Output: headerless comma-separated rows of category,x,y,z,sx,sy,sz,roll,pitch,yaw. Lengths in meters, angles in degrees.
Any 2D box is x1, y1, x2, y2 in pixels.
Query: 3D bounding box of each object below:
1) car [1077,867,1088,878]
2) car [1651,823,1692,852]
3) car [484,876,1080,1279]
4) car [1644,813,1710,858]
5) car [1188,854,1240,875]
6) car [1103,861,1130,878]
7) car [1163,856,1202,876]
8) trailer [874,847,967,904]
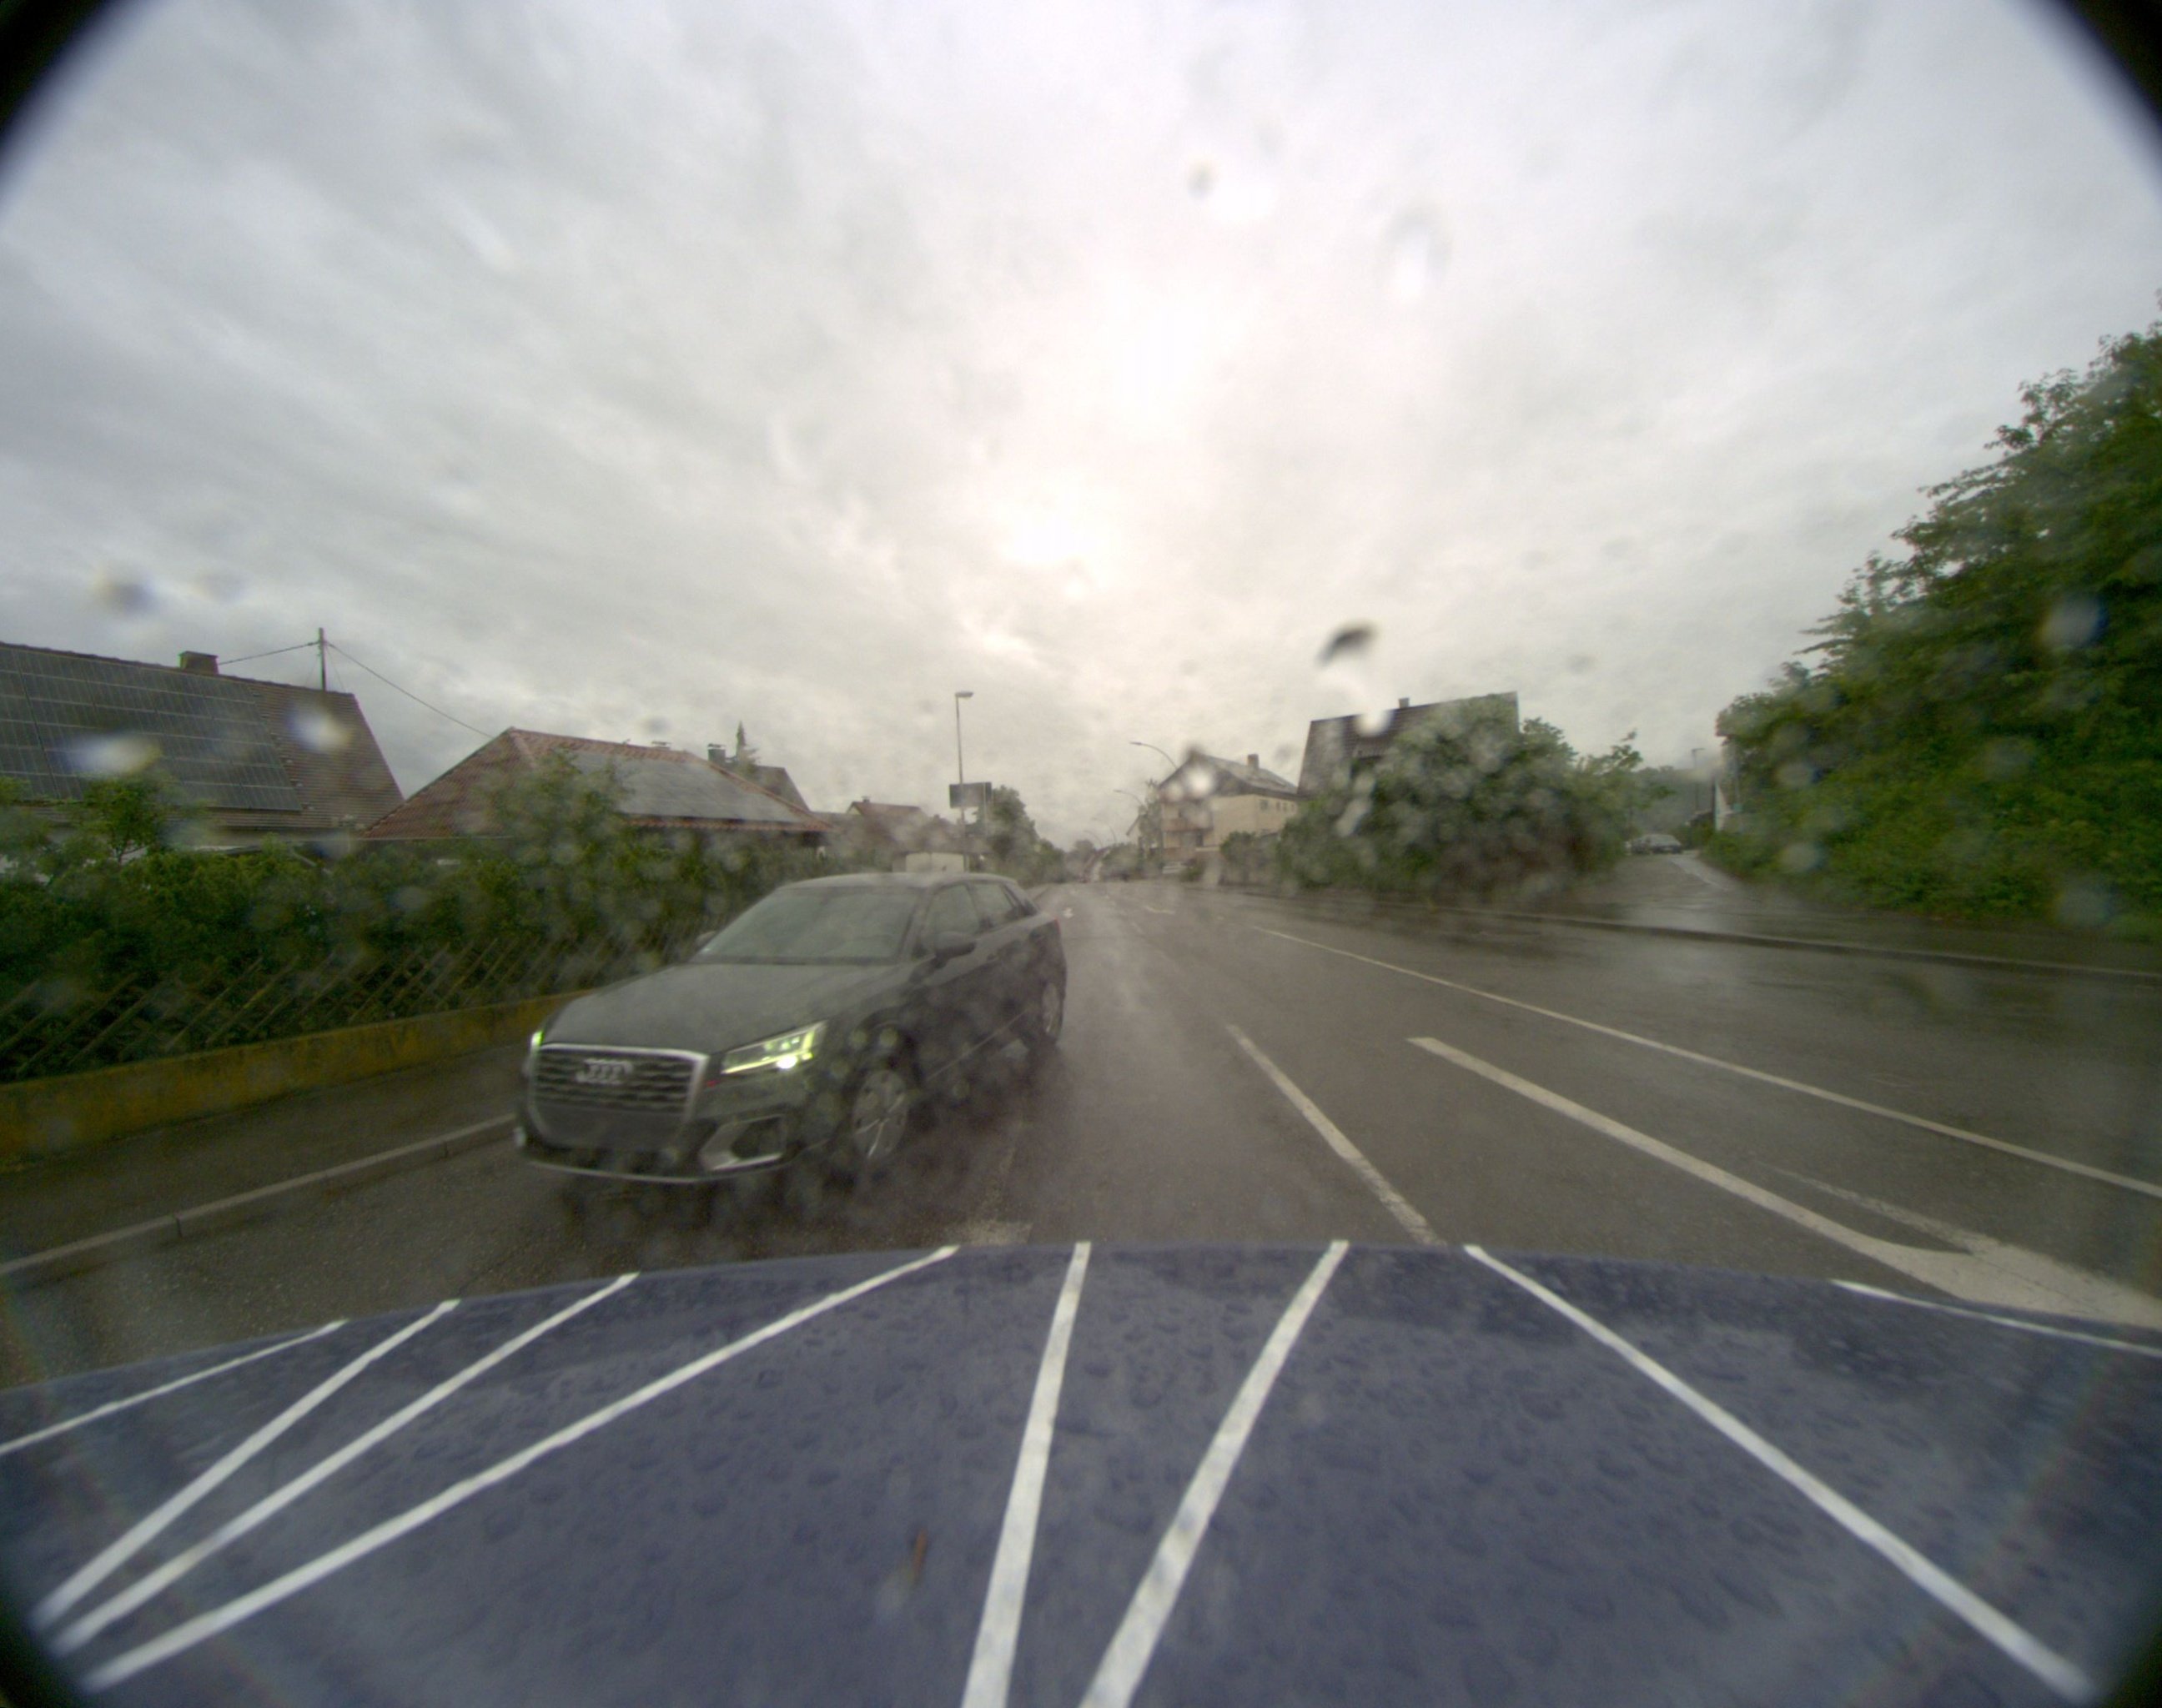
car,0.235,3.489,142.038,1.932,1.864,4.000,-3,0,0
car,41.126,-1.146,52.865,1.995,1.848,4.008,-3,0,41
car,-1.388,1.002,5.203,1.686,1.486,3.943,-3,0,16
car,22.964,-0.706,29.227,1.706,1.579,3.669,-2,0,42
car,10.719,0.845,61.216,3.661,1.510,1.758,-3,0,35
car,3.966,1.677,84.458,1.996,1.658,4.421,-3,0,16
car,8.964,1.057,67.147,1.864,1.510,4.007,-3,0,32
trailer,-7.726,1.000,37.041,1.645,2.502,4.712,-3,-1,28
